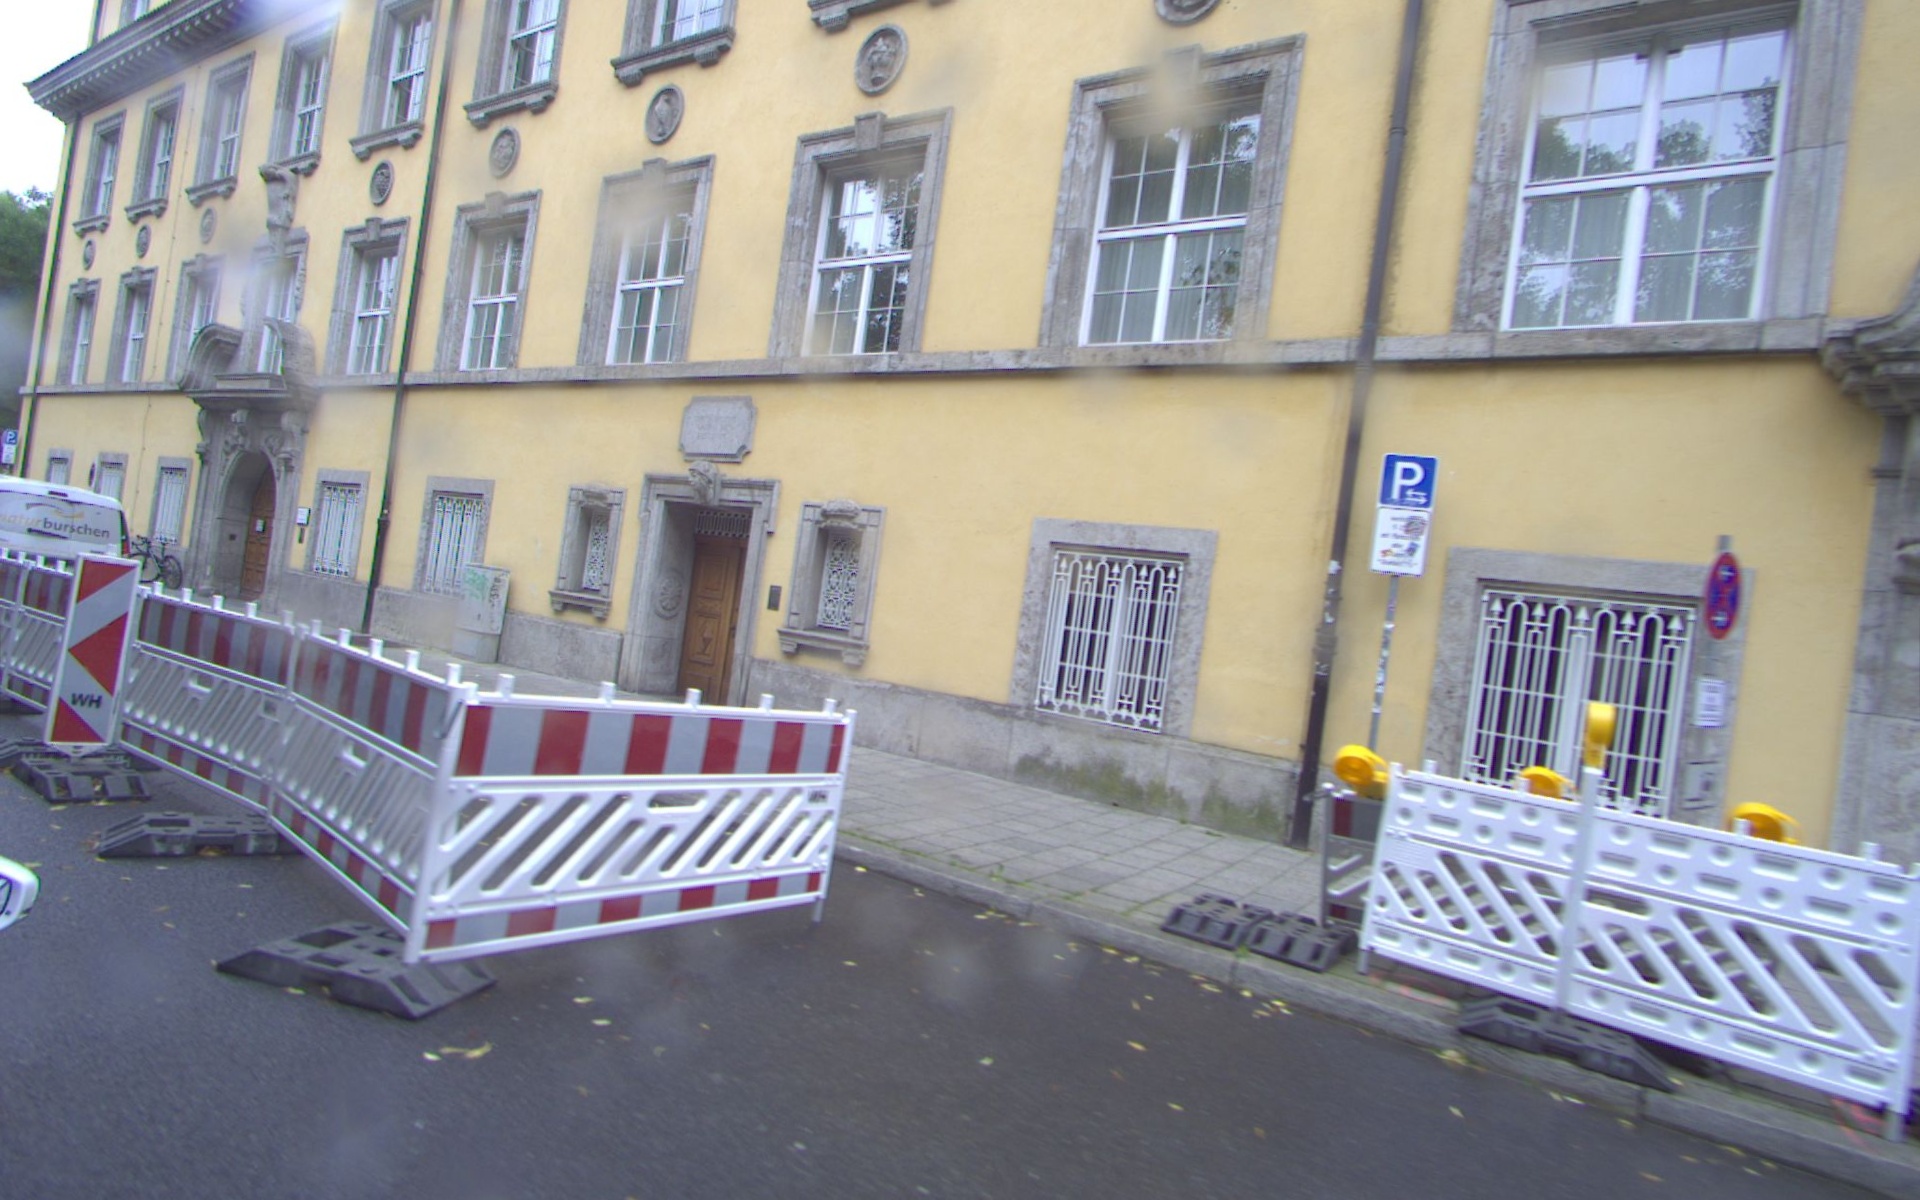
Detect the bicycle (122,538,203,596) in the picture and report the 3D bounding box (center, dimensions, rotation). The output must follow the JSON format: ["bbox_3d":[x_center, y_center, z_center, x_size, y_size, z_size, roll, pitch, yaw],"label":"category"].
[{"bbox_3d":[-17.103,-0.707,21.569,2.024,1.018,0.681,6,-2,34],"label":"bicycle"}]

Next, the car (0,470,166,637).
[{"bbox_3d":[-12.319,-0.691,13.020,4.285,1.770,1.743,6,-2,32],"label":"car"}]
